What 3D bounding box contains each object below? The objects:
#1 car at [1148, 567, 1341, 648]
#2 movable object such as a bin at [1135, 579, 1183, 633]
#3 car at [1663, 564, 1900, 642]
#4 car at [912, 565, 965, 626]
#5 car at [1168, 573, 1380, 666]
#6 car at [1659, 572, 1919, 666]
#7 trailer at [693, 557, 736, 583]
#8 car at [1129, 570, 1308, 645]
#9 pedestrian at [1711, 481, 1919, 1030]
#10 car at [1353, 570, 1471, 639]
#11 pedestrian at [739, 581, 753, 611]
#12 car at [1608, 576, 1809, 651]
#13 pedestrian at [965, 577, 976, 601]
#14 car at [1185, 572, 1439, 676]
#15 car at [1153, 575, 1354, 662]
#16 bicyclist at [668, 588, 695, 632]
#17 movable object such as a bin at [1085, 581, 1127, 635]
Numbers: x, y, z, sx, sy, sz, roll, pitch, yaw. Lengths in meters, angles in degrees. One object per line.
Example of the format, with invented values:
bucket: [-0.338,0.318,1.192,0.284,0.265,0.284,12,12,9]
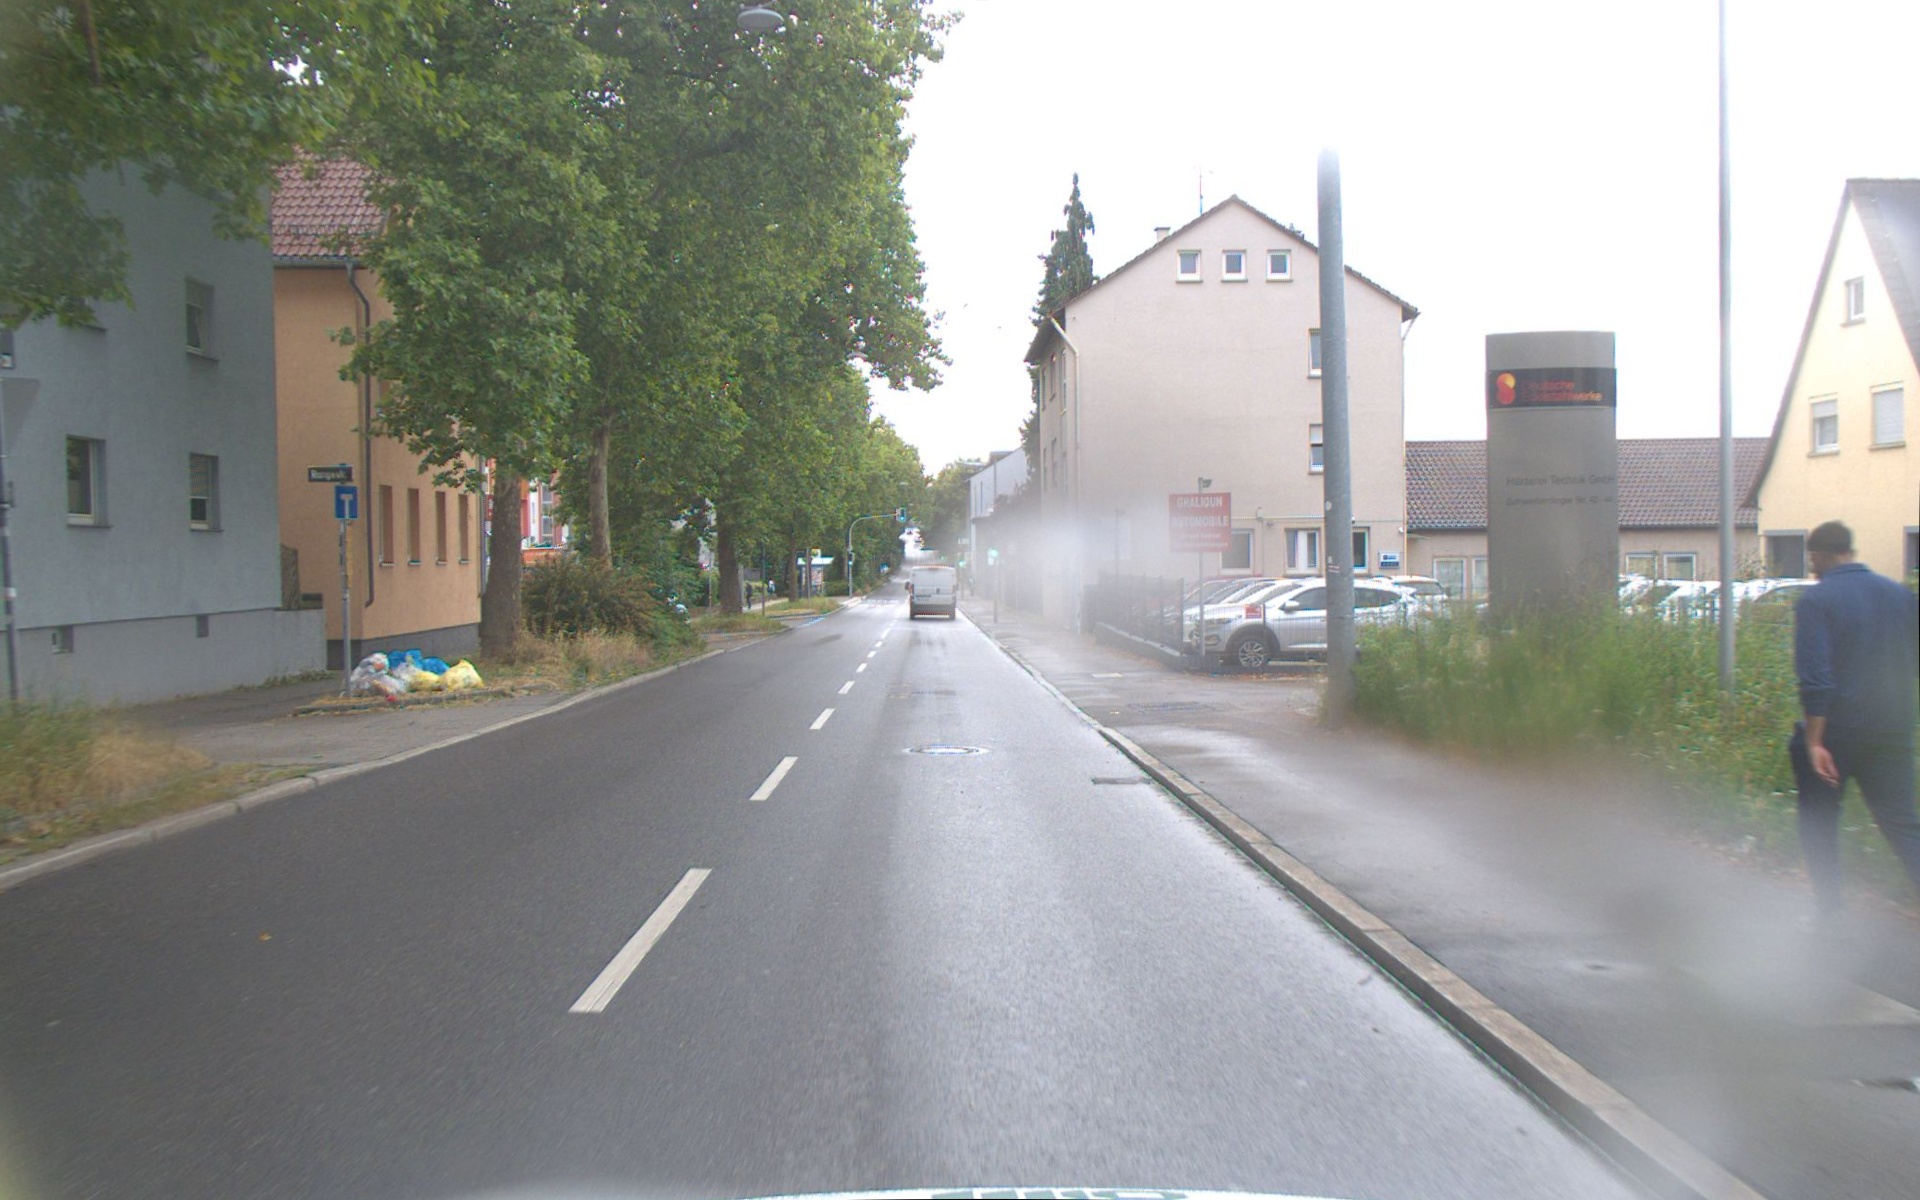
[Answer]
car: [6.569,0.188,38.516,4.143,1.767,1.869,1,-1,-2]
movable object such as a bin: [5.932,0.172,49.305,1.209,1.536,1.110,-2,-1,-2]
car: [16.853,0.076,34.069,3.907,1.494,1.999,1,-1,-3]
car: [-0.960,-0.174,72.461,2.236,2.597,3.999,0,-1,-1]
car: [6.251,0.383,33.165,3.869,1.754,1.791,1,0,-2]
car: [15.639,0.329,30.840,4.412,1.655,1.869,-1,0,-2]
trailer: [-16.252,-1.992,109.542,2.649,1.674,1.480,1,0,-1]
car: [6.423,0.199,41.438,4.143,1.767,1.869,1,-1,-2]
pedestrian: [3.588,0.546,6.289,1.022,1.930,0.900,-1,-1,-1]
car: [10.909,0.118,40.185,1.771,1.557,3.626,1,-1,-2]
pedestrian: [-12.137,-0.220,93.878,0.741,1.639,0.834,1,-1,-6]
car: [16.621,0.294,36.818,3.690,1.559,1.757,1,0,-5]
pedestrian: [0.762,-0.780,121.562,0.728,1.734,0.900,1,-1,-7]
car: [6.416,0.436,30.477,4.215,1.799,1.999,1,-1,-2]
car: [6.309,0.401,35.805,3.984,1.767,1.869,1,-1,-2]
bicyclist: [-10.013,0.358,59.443,0.816,1.580,0.816,1,-1,-2]
movable object such as a bin: [4.351,0.241,49.391,1.088,1.536,0.986,-2,-1,-2]
